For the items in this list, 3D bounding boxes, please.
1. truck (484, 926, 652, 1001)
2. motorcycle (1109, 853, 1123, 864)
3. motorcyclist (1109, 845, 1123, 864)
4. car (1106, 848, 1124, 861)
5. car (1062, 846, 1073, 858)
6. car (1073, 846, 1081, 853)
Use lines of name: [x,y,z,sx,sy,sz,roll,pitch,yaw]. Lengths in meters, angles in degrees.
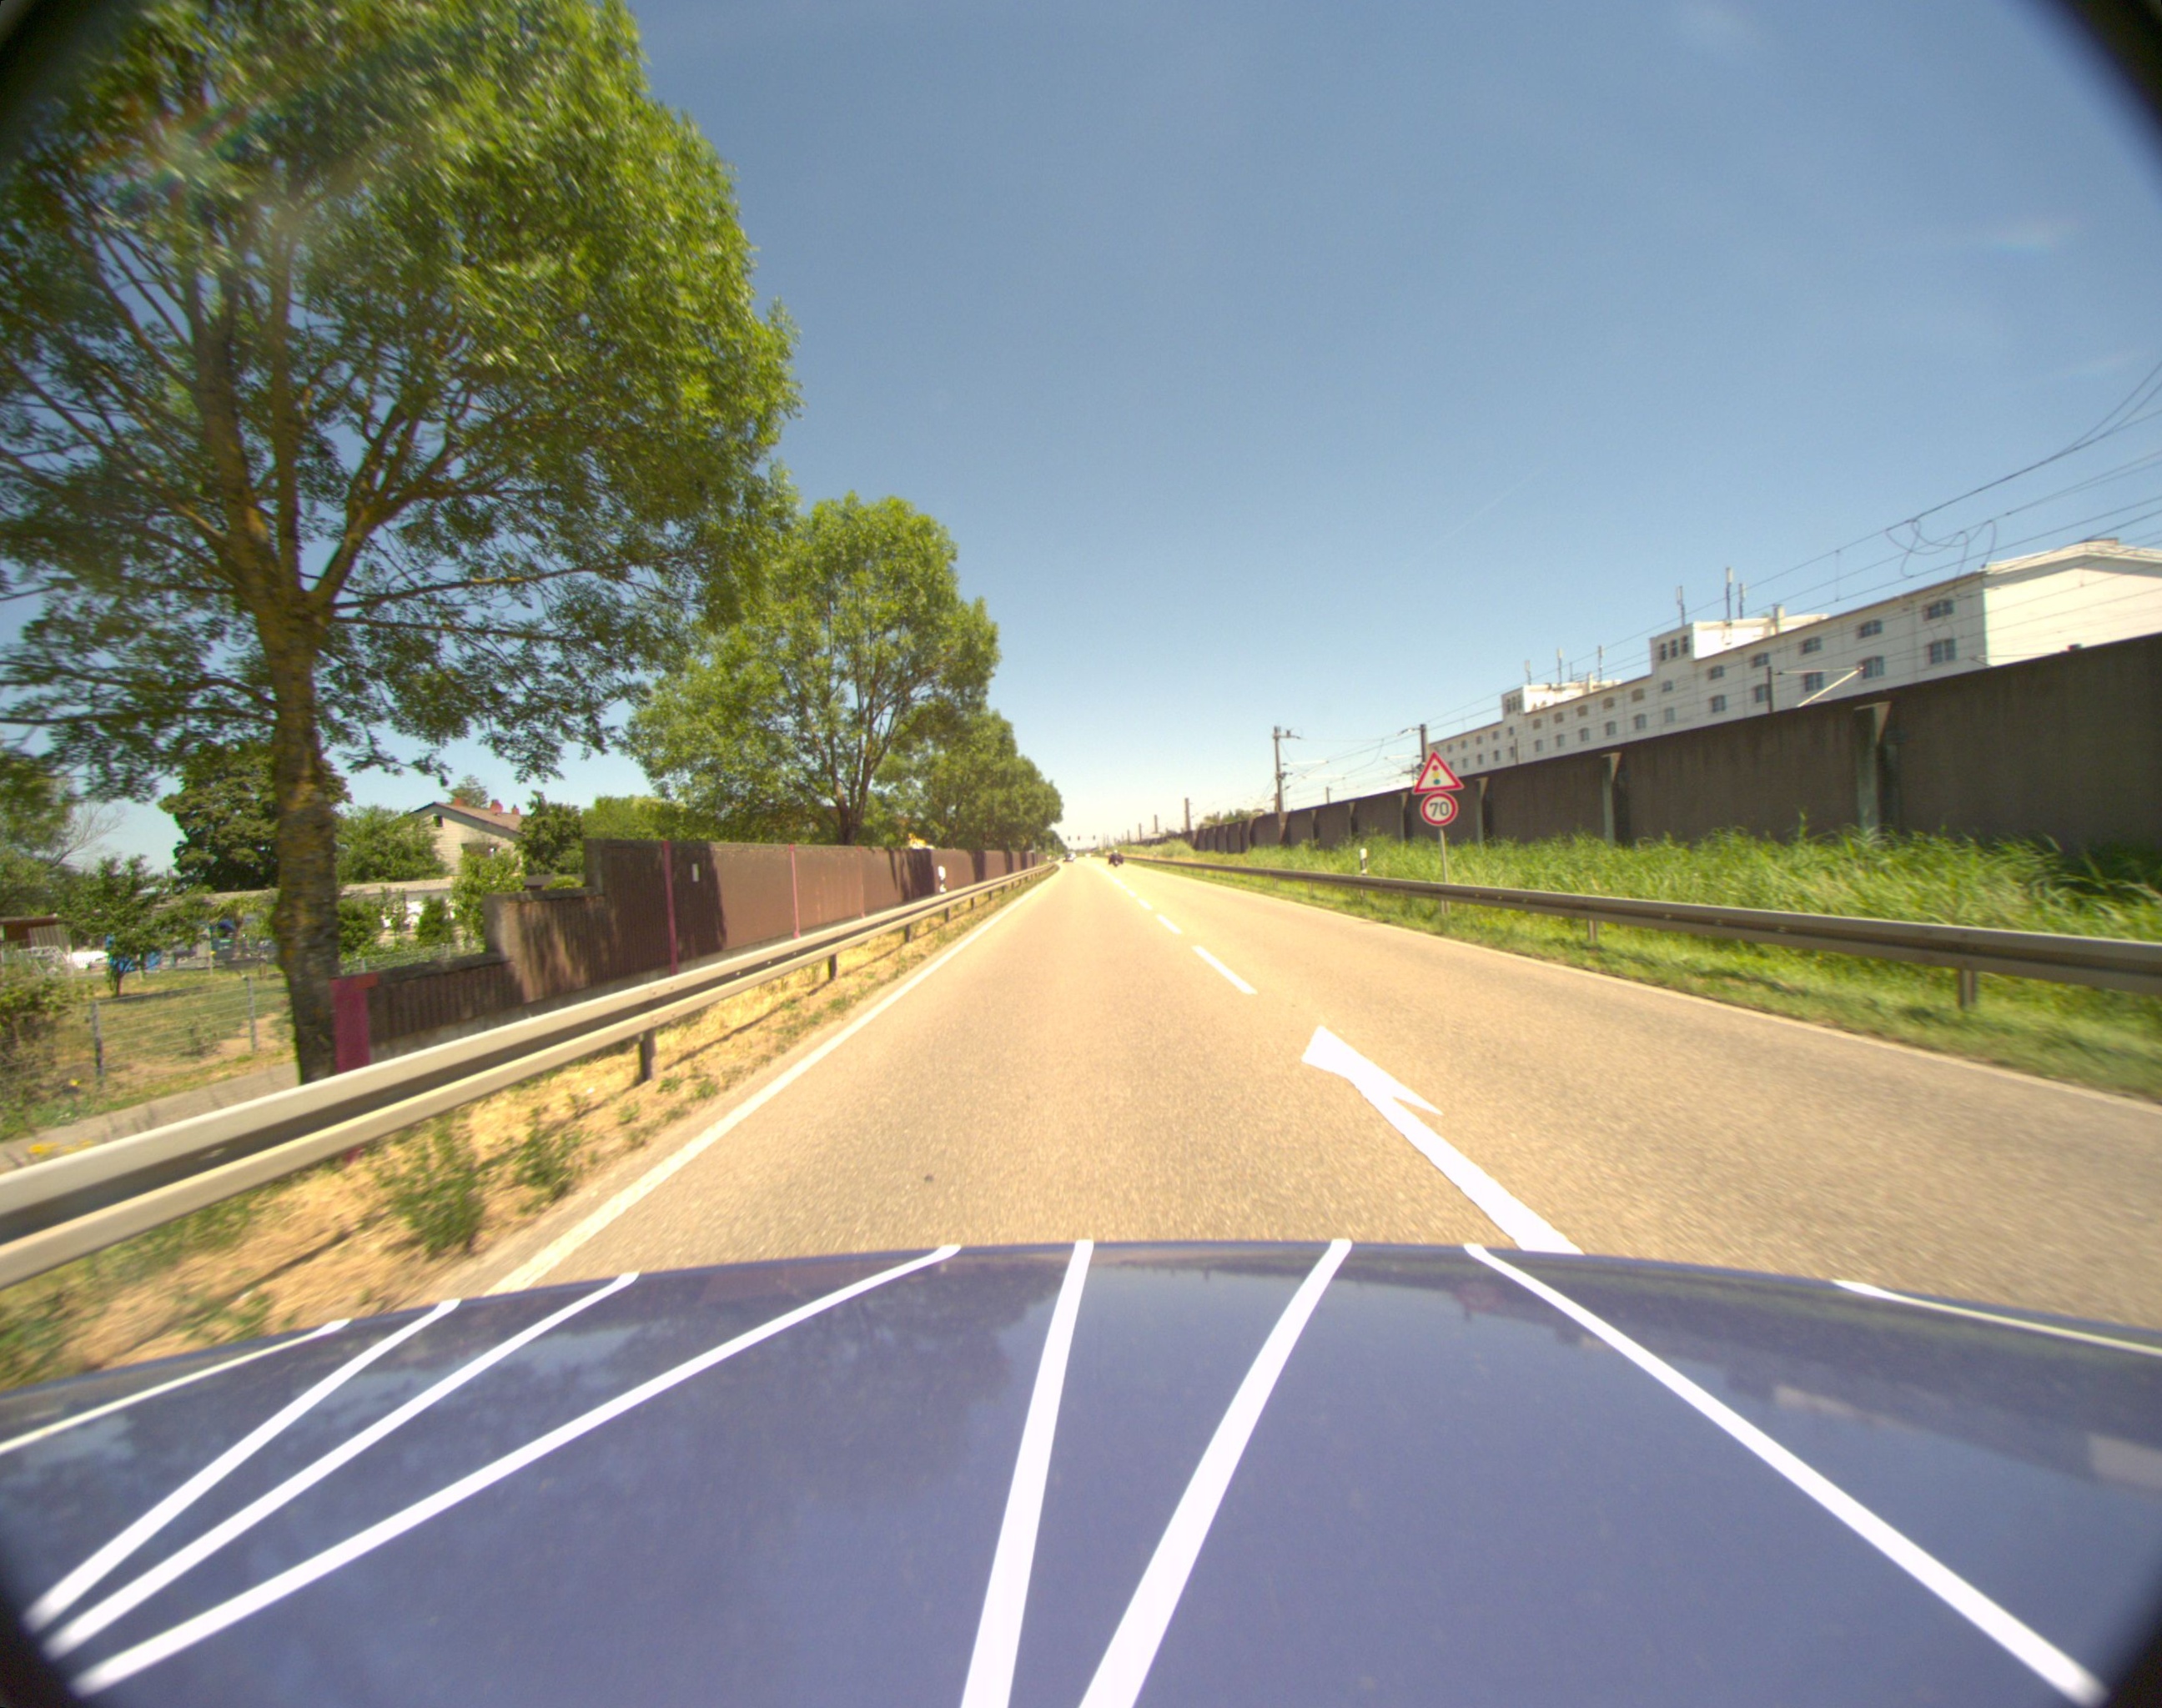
truck: [-15.984,3.343,24.064,1.887,1.562,4.902,-2,0,1]
motorcycle: [3.594,0.481,77.778,1.240,1.066,3.128,-2,1,0]
motorcyclist: [3.556,0.076,77.813,1.257,1.853,1.245,-2,1,0]
car: [4.217,0.062,95.437,1.999,1.499,3.999,-2,1,-1]
car: [-2.426,-0.302,135.880,1.999,2.002,3.999,-3,1,-2]
car: [-1.180,-1.272,212.672,1.999,2.002,3.999,-3,1,-1]
